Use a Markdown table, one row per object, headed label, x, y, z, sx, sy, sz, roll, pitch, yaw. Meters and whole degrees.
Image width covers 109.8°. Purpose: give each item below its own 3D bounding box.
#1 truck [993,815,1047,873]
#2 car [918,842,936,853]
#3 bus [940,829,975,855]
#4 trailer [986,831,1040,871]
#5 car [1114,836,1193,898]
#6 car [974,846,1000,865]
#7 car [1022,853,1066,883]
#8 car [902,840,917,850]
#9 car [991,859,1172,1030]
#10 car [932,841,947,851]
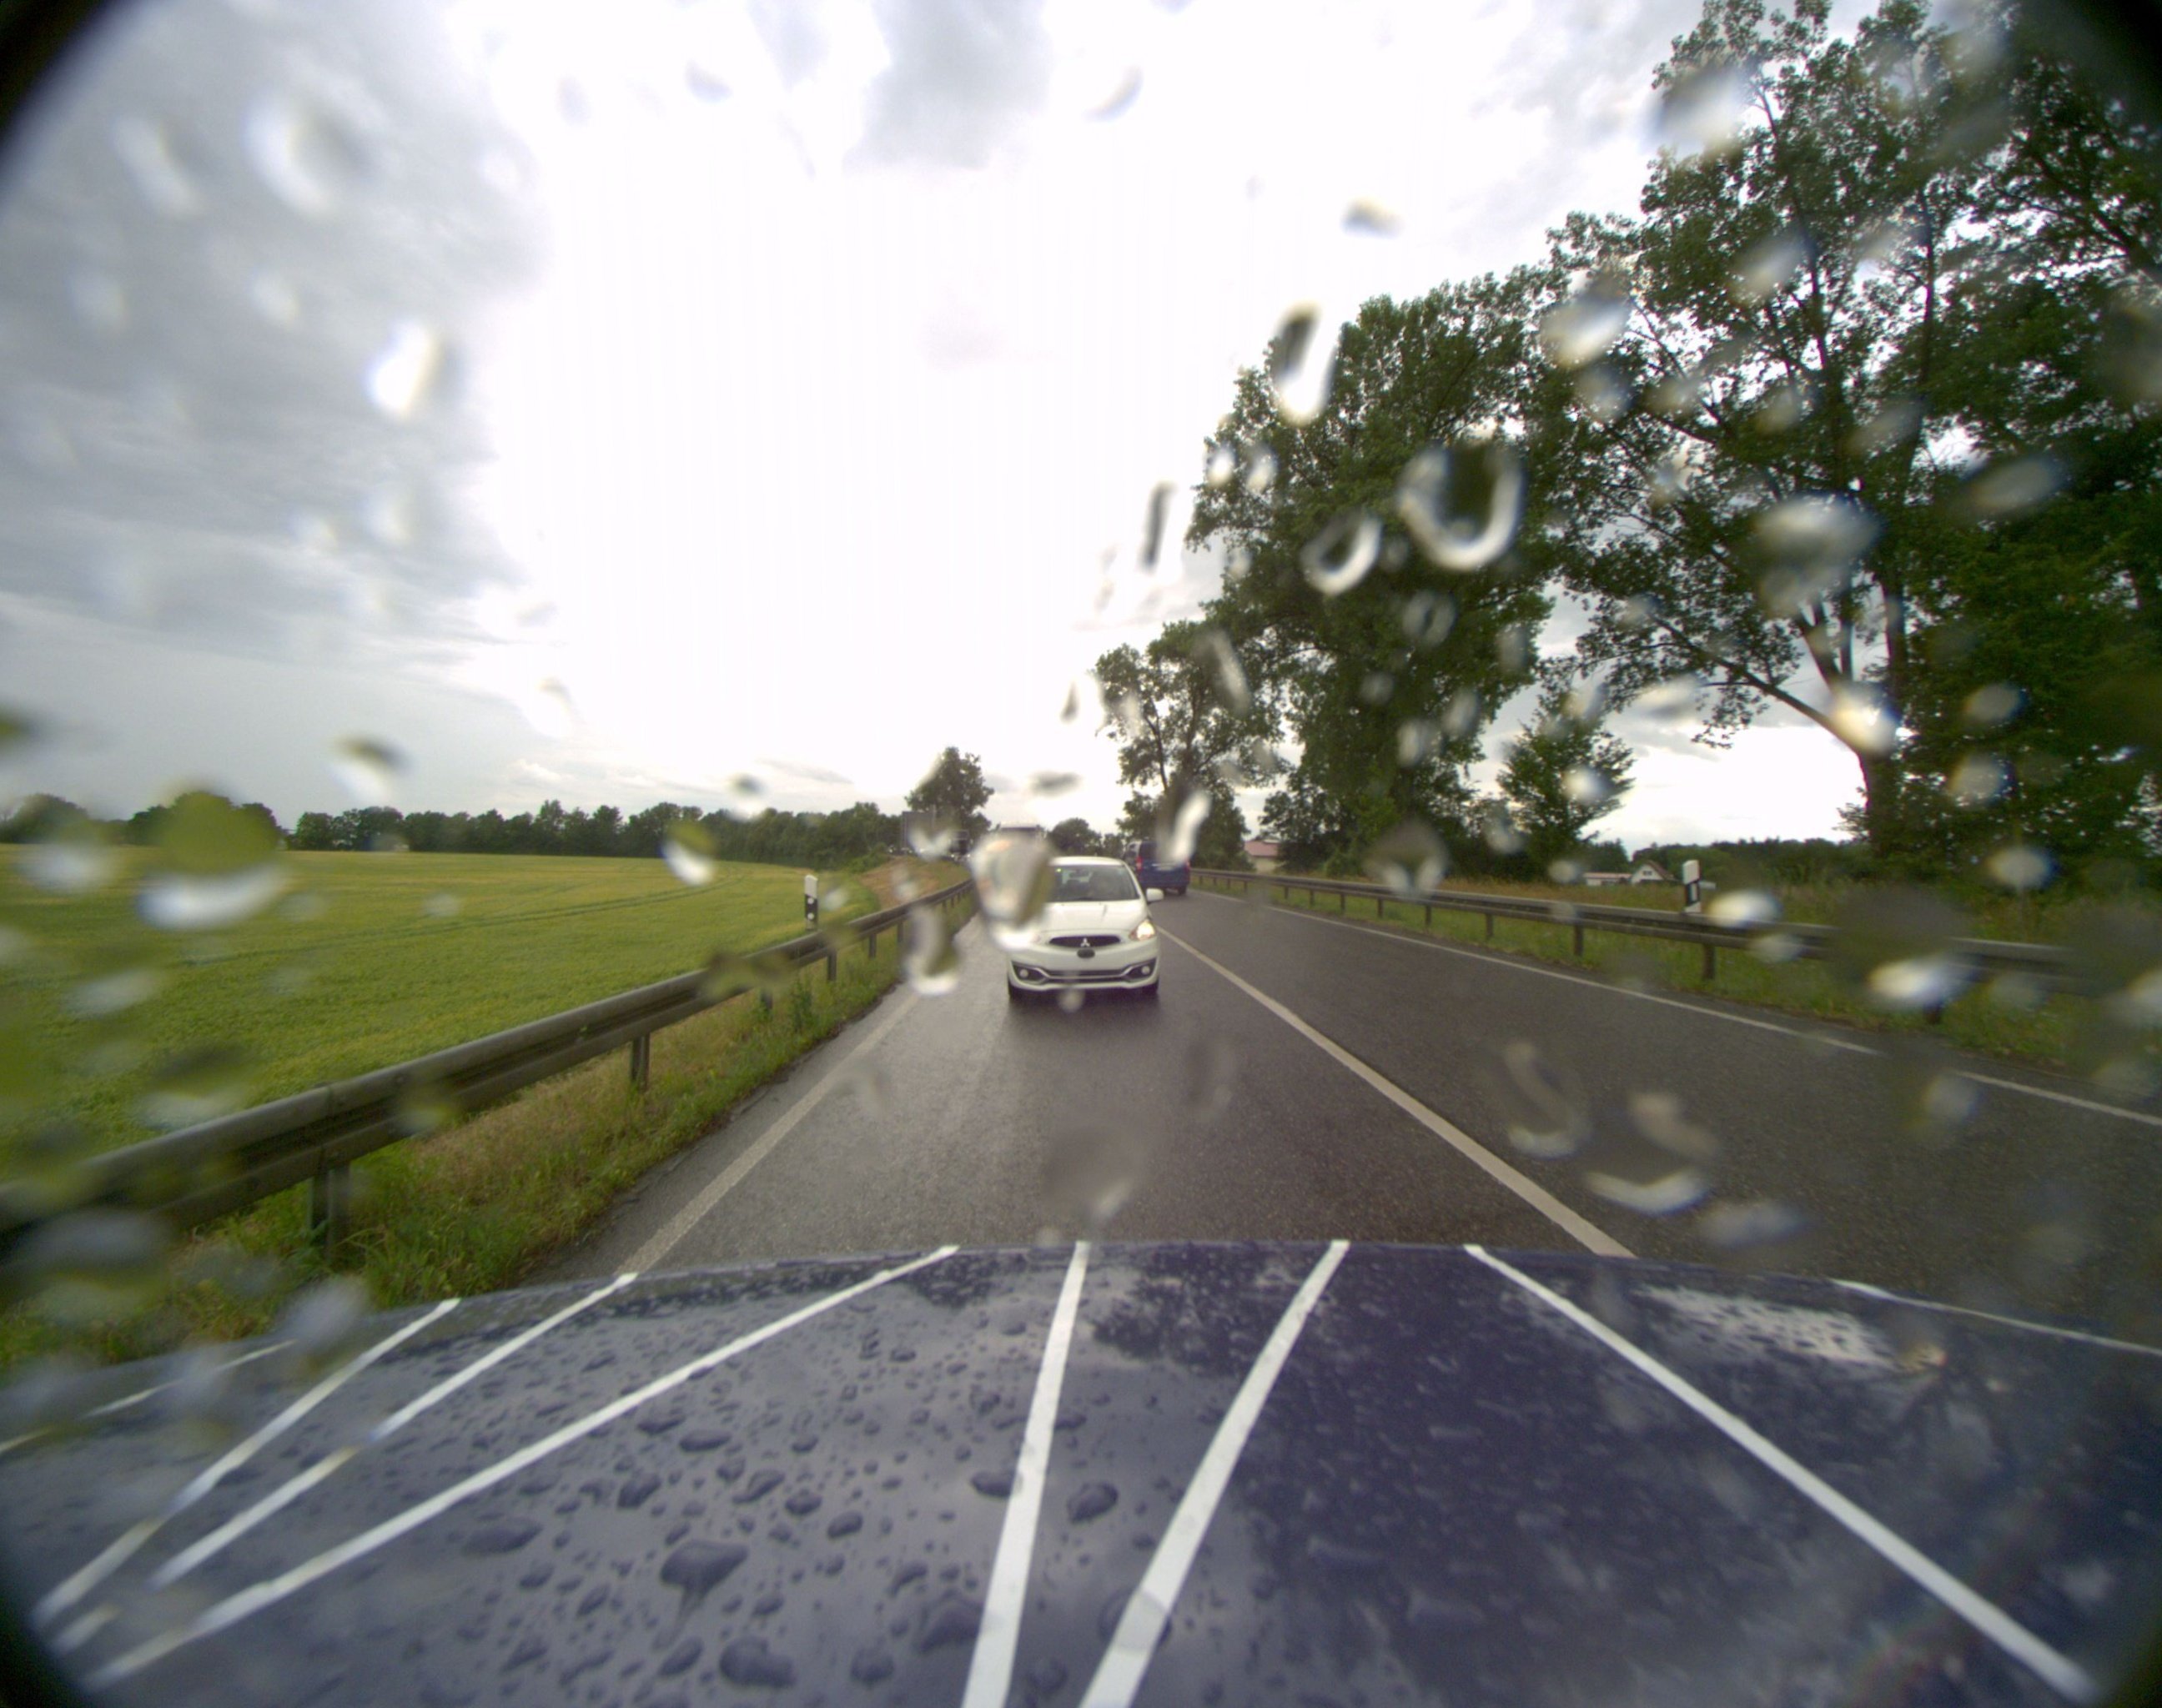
| label | x | y | z | sx | sy | sz | roll | pitch | yaw |
| --- | --- | --- | --- | --- | --- | --- | --- | --- | --- |
| truck | -4.212 | -0.656 | 51.235 | 2.986 | 3.589 | 6.074 | -2 | 1 | -9 |
| car | -27.826 | -1.178 | 137.560 | 2.002 | 2.002 | 5.325 | -2 | 1 | -24 |
| bus | -17.301 | -1.642 | 105.885 | 2.967 | 3.294 | 14.813 | -2 | 2 | -16 |
| trailer | -5.594 | -0.264 | 59.703 | 2.986 | 2.618 | 15.667 | -2 | 1 | -9 |
| car | 2.538 | 0.408 | 27.812 | 1.968 | 2.002 | 4.857 | -2 | 1 | -5 |
| car | -9.873 | 0.140 | 79.292 | 2.044 | 1.832 | 5.329 | -2 | 1 | -13 |
| car | -1.990 | 0.674 | 39.752 | 1.782 | 1.380 | 4.324 | -2 | 1 | -9 |
| car | -35.557 | -1.837 | 157.197 | 2.002 | 2.002 | 4.223 | -2 | 1 | -25 |
| car | -0.095 | 0.857 | 9.138 | 1.653 | 1.461 | 4.028 | -2 | 1 | -3 |
| car | -23.065 | -1.356 | 123.901 | 1.816 | 1.569 | 3.994 | -2 | 1 | -17 |
